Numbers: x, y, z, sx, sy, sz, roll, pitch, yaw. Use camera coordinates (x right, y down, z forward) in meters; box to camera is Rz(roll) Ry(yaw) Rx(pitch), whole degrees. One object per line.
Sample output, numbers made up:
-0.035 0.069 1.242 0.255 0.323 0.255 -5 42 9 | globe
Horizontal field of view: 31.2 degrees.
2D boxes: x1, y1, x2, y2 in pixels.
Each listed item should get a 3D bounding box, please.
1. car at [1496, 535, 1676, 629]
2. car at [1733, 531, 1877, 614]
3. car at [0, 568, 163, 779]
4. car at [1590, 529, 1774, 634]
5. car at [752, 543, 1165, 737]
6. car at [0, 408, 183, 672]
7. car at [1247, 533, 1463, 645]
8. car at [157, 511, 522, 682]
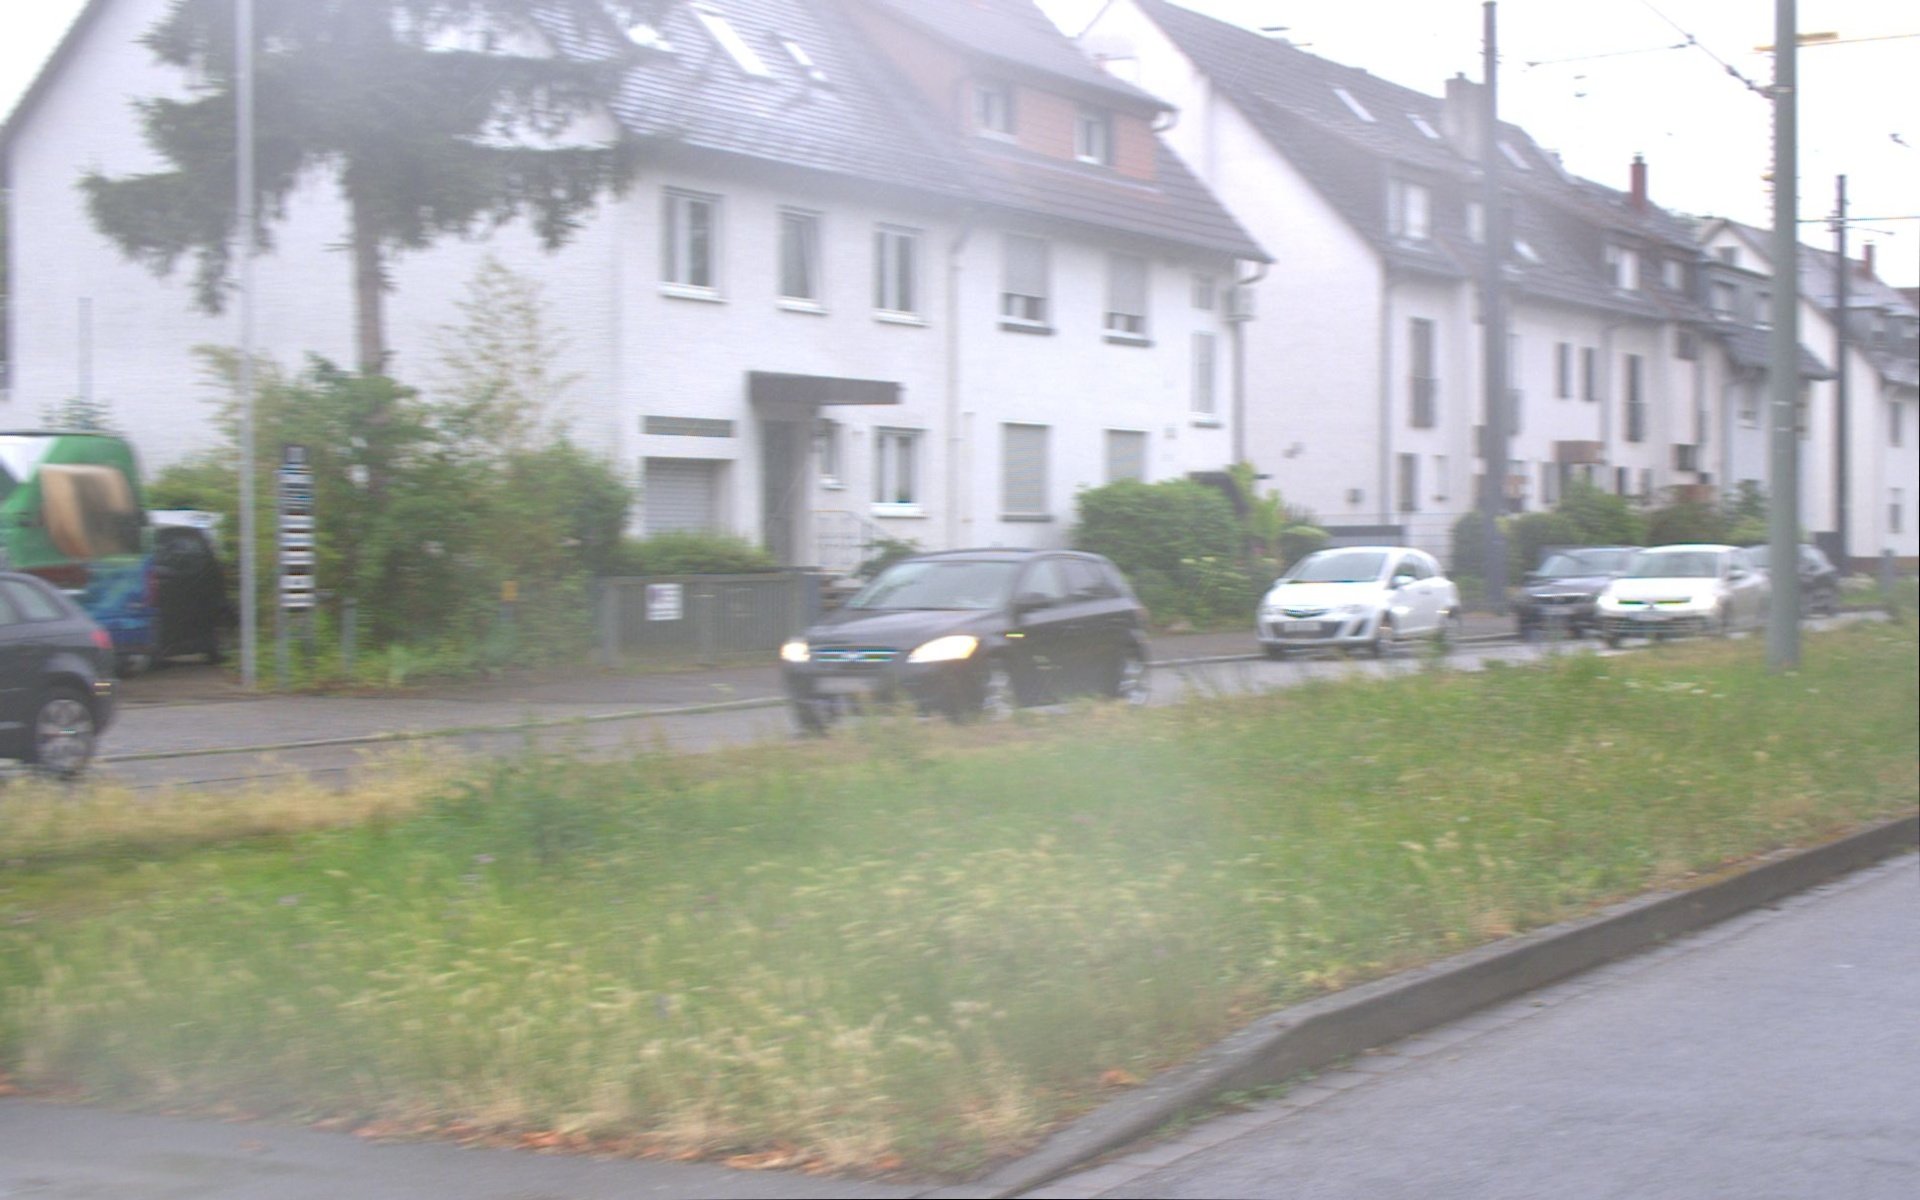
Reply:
10.240 -0.265 55.973 1.603 1.419 4.659 1 -1 27 | car
16.600 -0.522 67.410 1.879 1.498 4.127 1 -1 26 | car
-7.140 0.445 21.515 1.720 1.334 4.382 1 -1 28 | car
10.380 -0.247 49.240 1.603 1.419 3.814 1 -1 27 | car
0.071 0.332 28.533 1.739 1.481 3.994 1 -1 28 | car
-10.305 -0.560 33.378 5.139 2.398 2.149 1 -1 26 | car
5.368 -0.126 46.371 1.603 1.419 3.938 1 -1 27 | car
-6.748 -0.091 37.802 1.996 1.559 3.890 1 5 26 | car
